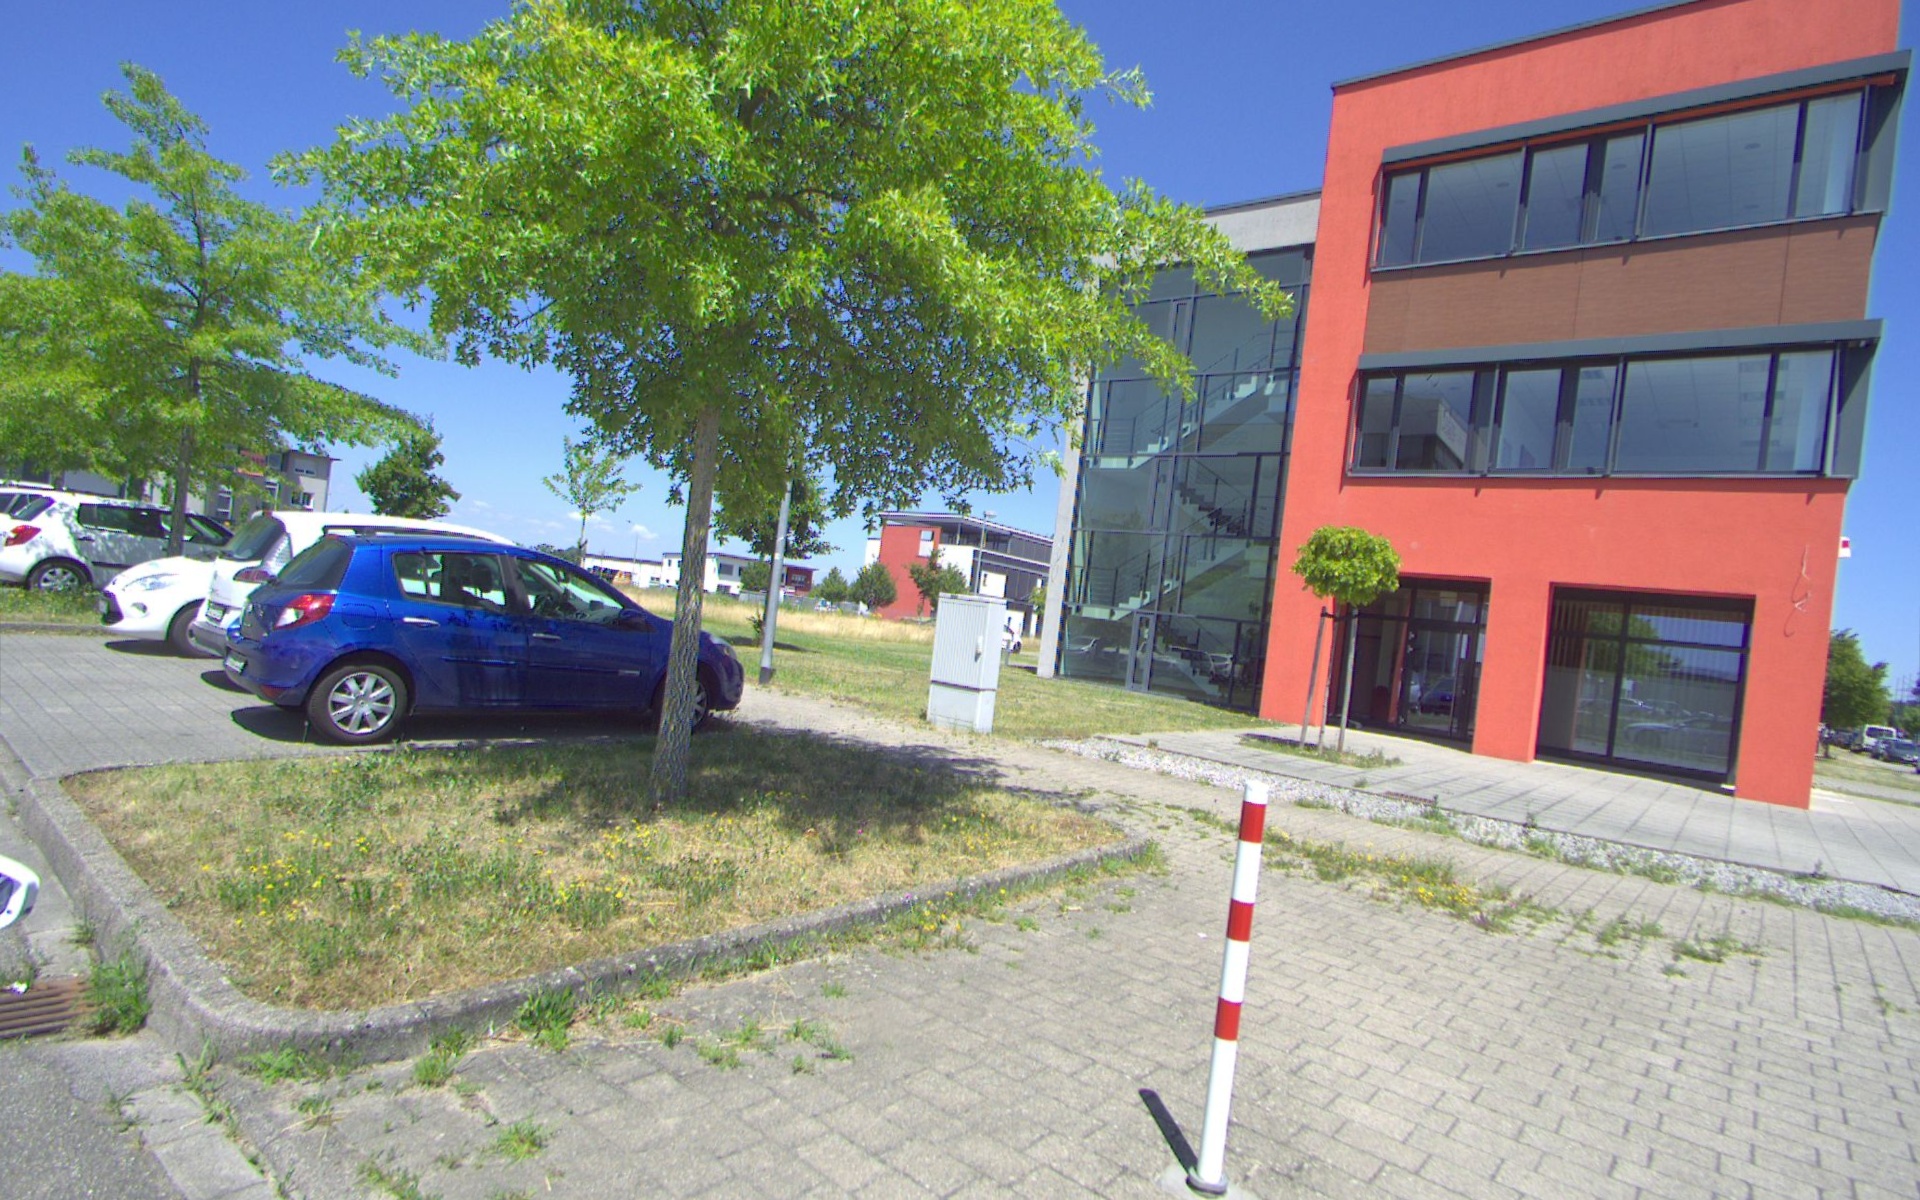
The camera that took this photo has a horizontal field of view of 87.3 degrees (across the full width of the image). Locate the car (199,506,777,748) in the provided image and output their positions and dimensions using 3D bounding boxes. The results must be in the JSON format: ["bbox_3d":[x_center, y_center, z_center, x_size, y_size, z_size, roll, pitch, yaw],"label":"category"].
[{"bbox_3d":[-3.726,0.235,8.447,1.704,1.510,3.984,7,2,43],"label":"car"}]

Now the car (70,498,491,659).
[{"bbox_3d":[-7.574,-0.170,11.516,1.585,1.482,3.616,7,2,35],"label":"car"}]

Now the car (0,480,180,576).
[{"bbox_3d":[-19.052,-1.558,21.009,1.669,1.645,4.041,6,0,40],"label":"car"}]

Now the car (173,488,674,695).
[{"bbox_3d":[-5.247,-0.013,10.224,1.751,1.672,4.097,7,2,44],"label":"car"}]

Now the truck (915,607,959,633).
[{"bbox_3d":[-2.298,2.013,101.368,1.971,2.038,4.341,7,-1,39],"label":"truck"}]

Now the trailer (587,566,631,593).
[{"bbox_3d":[-40.168,-2.341,115.235,2.200,2.631,3.986,7,-1,38],"label":"trailer"}]

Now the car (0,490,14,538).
[{"bbox_3d":[-36.328,-3.310,35.631,1.757,1.699,3.870,6,0,40],"label":"car"}]

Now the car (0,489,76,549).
[{"bbox_3d":[-27.802,-2.439,28.707,1.652,1.522,3.625,6,0,40],"label":"car"}]

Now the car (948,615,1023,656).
[{"bbox_3d":[1.236,1.680,47.296,1.694,1.528,3.320,6,-1,40],"label":"car"}]

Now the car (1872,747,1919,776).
[{"bbox_3d":[61.105,10.508,65.746,1.760,1.459,3.697,6,-1,37],"label":"car"}]

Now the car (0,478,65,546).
[{"bbox_3d":[-29.829,-2.818,30.029,1.770,1.853,4.396,6,0,40],"label":"car"}]

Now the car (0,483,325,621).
[{"bbox_3d":[-12.096,-0.669,15.166,1.754,1.543,3.831,6,-1,39],"label":"car"}]

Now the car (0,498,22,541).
[{"bbox_3d":[-34.569,-2.968,34.353,1.729,1.434,3.453,6,0,39],"label":"car"}]

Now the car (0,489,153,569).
[{"bbox_3d":[-20.948,-1.674,22.664,1.622,1.471,4.041,6,0,40],"label":"car"}]

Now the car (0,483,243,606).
[{"bbox_3d":[-14.193,-0.927,16.353,1.756,1.572,3.824,7,0,45],"label":"car"}]

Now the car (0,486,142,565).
[{"bbox_3d":[-22.917,-1.906,24.137,1.884,1.580,4.715,6,0,36],"label":"car"}]
